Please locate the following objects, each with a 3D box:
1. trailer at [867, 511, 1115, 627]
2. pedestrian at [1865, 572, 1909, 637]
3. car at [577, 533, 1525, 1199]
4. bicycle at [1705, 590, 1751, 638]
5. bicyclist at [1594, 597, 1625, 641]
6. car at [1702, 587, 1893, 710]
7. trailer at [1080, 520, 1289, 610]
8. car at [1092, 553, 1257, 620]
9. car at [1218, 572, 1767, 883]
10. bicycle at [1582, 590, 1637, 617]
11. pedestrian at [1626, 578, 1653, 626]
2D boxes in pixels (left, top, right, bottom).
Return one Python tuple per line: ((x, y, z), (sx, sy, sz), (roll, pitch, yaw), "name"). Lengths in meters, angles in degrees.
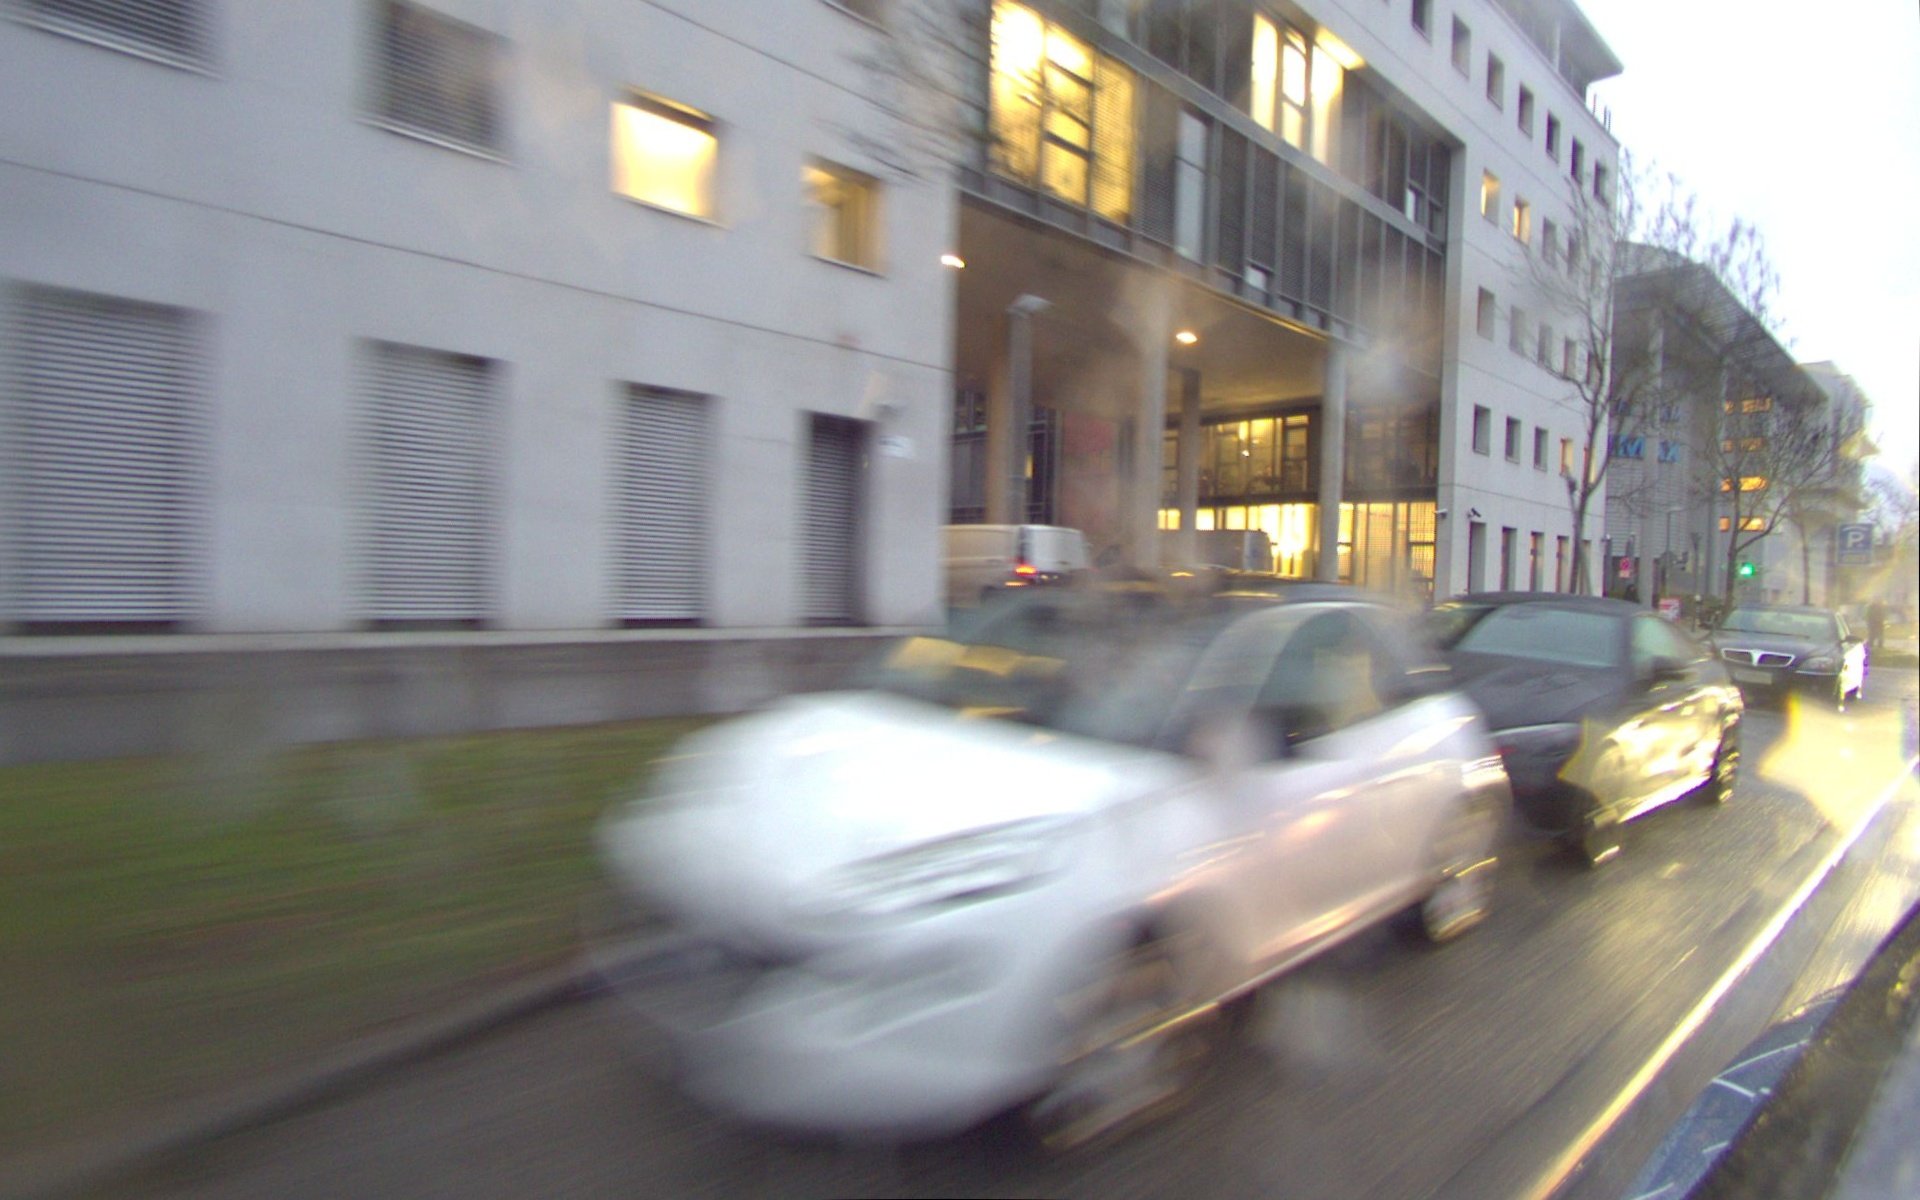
((0.437, -0.574, 19.853), (2.090, 1.935, 5.082), (2, 0, -37), "trailer")
((27.225, 0.112, 29.715), (0.771, 1.829, 0.688), (7, 6, 44), "pedestrian")
((0.608, 0.560, 3.757), (3.428, 1.411, 1.594), (1, 3, -43), "car")
((19.413, 0.327, 25.574), (2.130, 1.129, 0.551), (-1, 4, -44), "bicycle")
((28.159, 0.825, 43.897), (0.822, 1.845, 0.733), (3, -1, -20), "bicyclist")
((12.509, 0.651, 15.022), (4.157, 1.457, 1.599), (1, 4, -44), "car")
((7.031, -1.147, 32.352), (6.259, 2.613, 2.175), (3, 2, 44), "trailer")
((5.134, -0.351, 23.886), (1.633, 1.387, 4.458), (5, 4, 44), "car")
((3.681, 0.593, 6.649), (4.174, 1.421, 1.758), (1, 0, -40), "car")
((28.189, 0.133, 43.961), (0.836, 1.105, 1.872), (3, 0, -19), "bicycle")
((25.024, 0.056, 37.269), (0.737, 1.757, 0.692), (0, 1, 45), "pedestrian")
